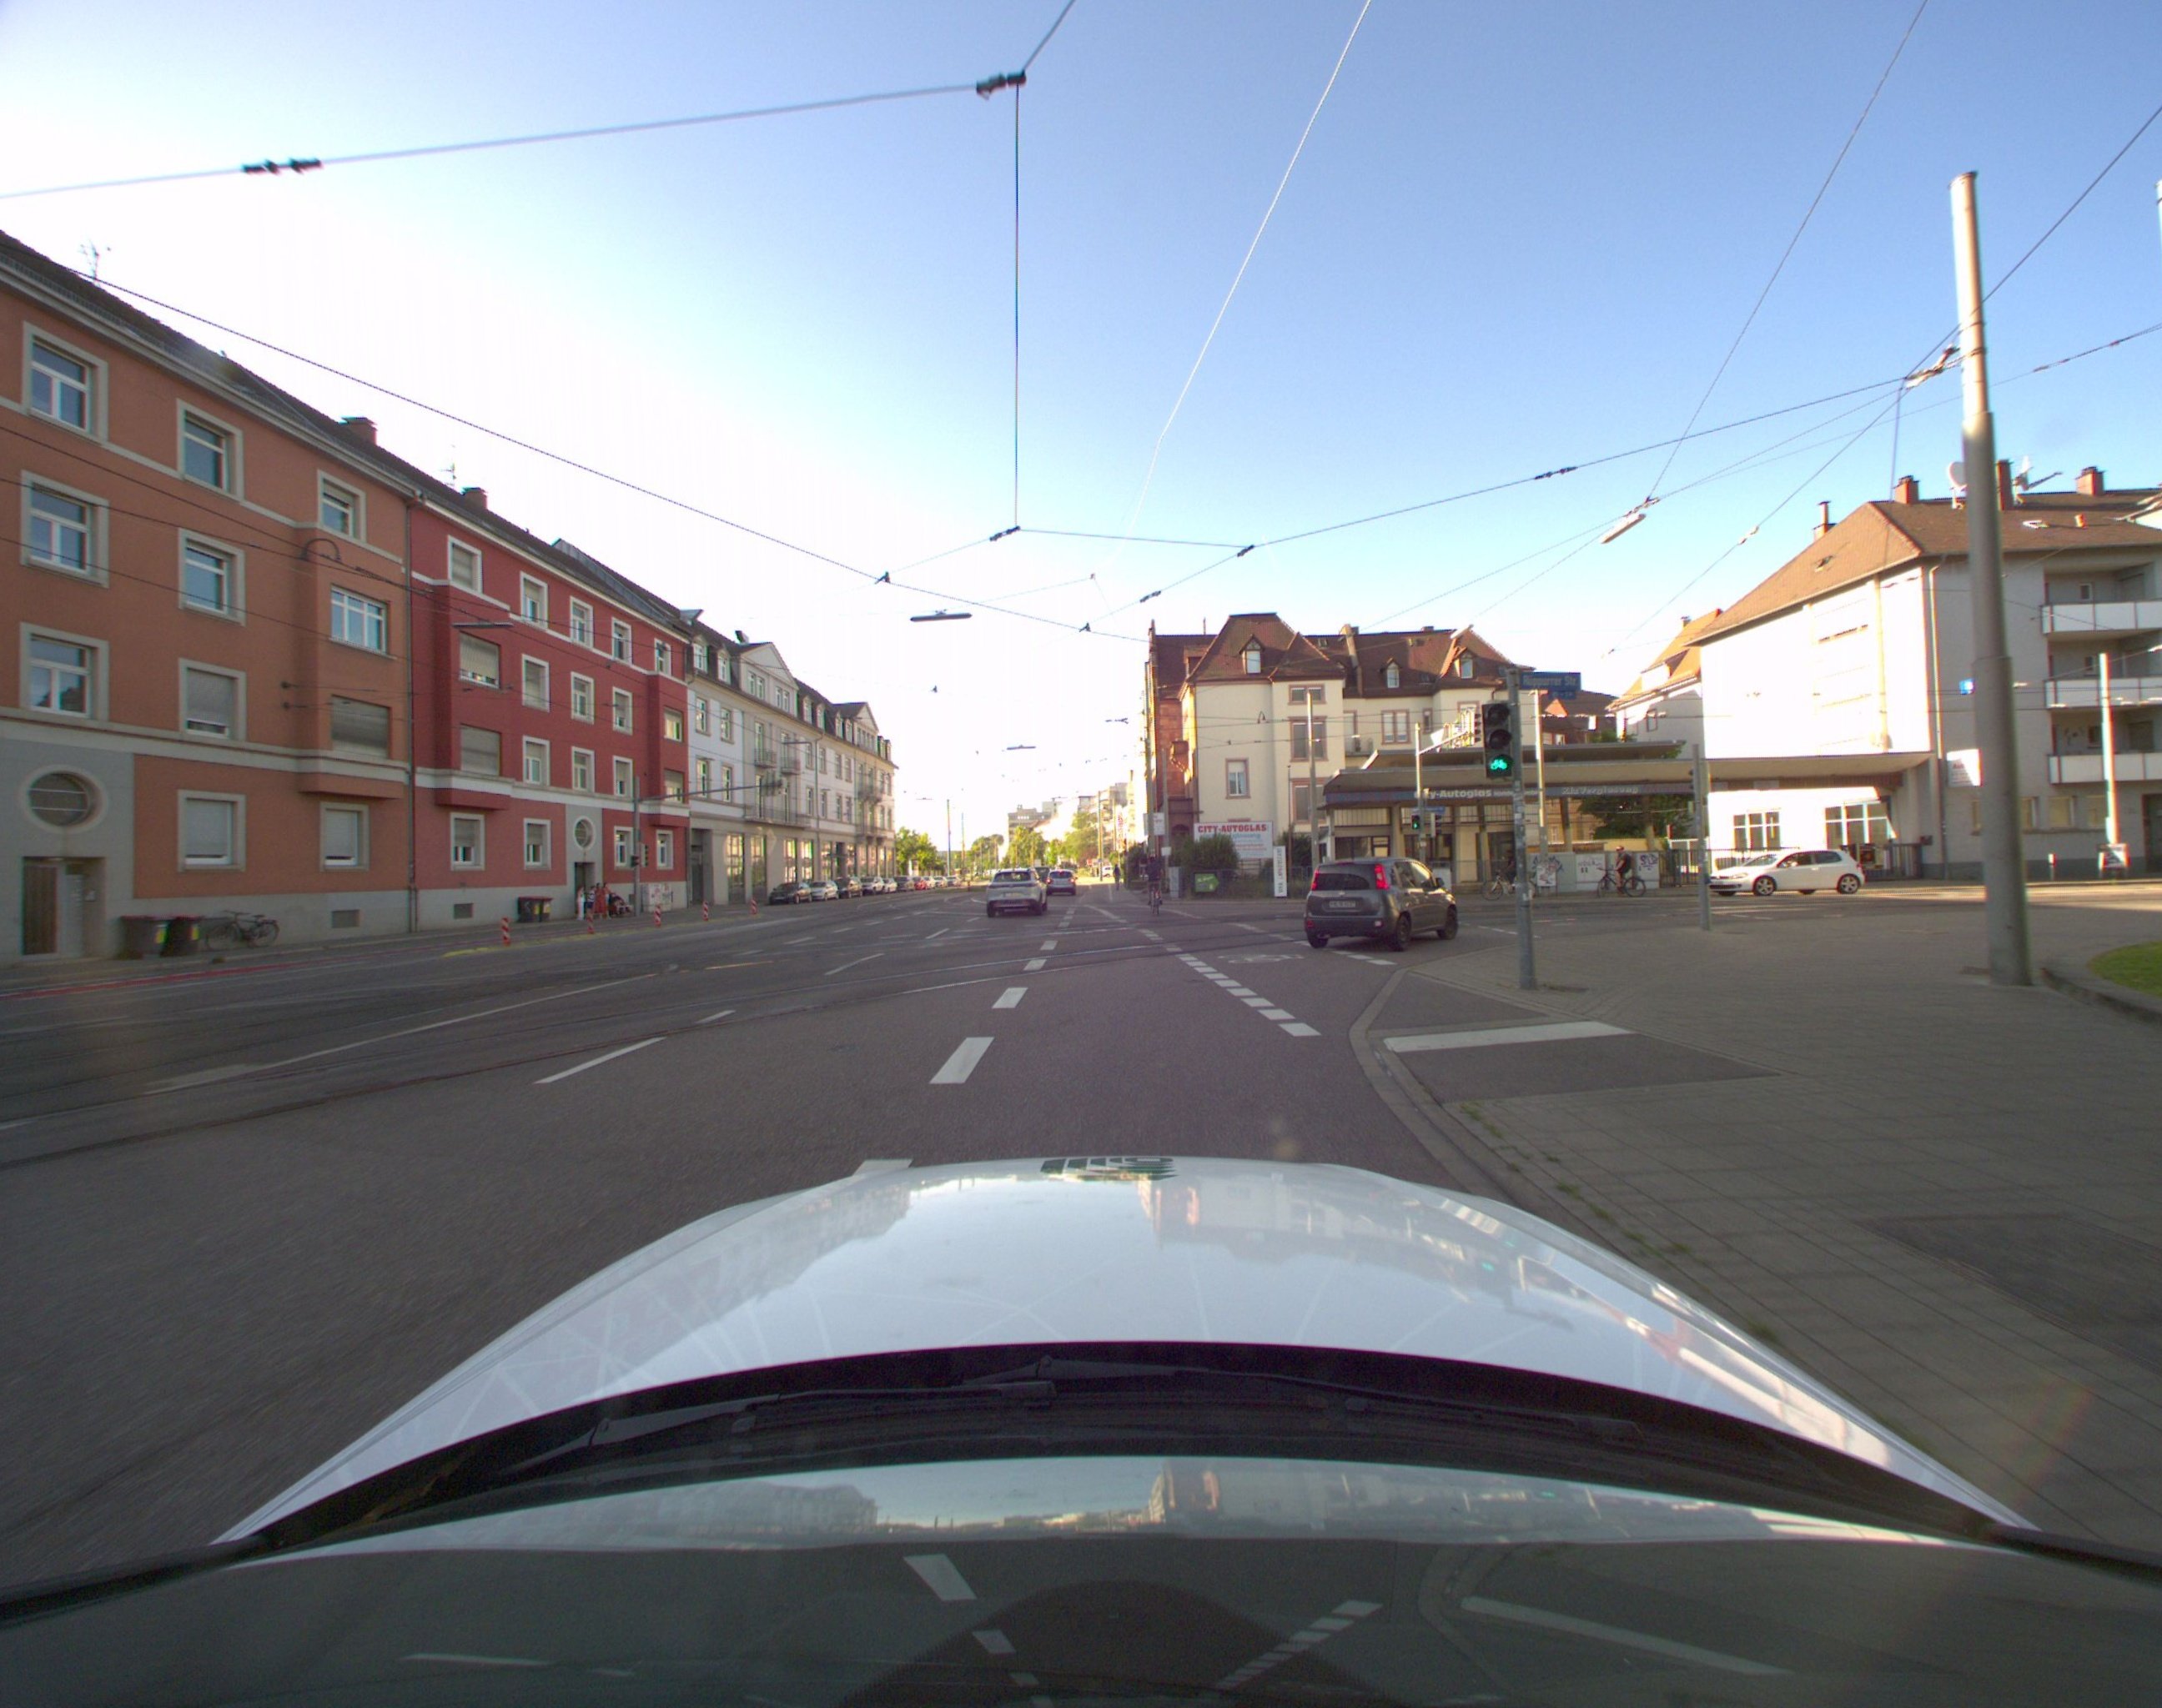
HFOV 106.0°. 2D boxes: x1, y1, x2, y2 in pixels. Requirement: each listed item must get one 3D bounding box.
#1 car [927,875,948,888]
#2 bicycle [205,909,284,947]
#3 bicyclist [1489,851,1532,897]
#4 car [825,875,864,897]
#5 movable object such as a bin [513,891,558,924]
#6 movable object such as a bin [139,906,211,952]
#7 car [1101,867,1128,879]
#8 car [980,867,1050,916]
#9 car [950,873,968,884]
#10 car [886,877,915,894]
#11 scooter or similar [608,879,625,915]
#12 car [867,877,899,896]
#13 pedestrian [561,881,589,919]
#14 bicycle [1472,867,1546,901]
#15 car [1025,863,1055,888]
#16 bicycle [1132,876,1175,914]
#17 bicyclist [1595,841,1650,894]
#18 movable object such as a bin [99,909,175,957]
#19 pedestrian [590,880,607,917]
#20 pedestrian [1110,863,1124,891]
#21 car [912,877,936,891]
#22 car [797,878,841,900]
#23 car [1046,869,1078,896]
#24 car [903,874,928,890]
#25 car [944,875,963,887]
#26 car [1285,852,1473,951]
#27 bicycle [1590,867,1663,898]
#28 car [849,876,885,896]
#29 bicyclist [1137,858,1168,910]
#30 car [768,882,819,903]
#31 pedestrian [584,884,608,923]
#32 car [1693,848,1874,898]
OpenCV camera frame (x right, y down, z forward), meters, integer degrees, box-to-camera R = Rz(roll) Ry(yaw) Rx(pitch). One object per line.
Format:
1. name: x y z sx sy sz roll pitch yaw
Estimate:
1. car: -17.423 3.326 98.984 1.712 1.552 4.002 -2 -1 2
2. bicycle: -22.630 1.987 22.067 0.333 0.890 1.607 -2 -1 6
3. bicyclist: 14.762 0.693 28.004 1.041 1.526 0.882 -2 -2 10
4. car: -18.272 2.442 63.035 1.712 1.552 3.857 -2 -1 2
5. movable object such as a bin: -22.059 2.158 32.965 0.865 1.249 1.236 -2 -2 8
6. movable object such as a bin: -22.419 1.842 20.172 0.841 1.040 0.810 -2 -2 -3
7. car: 5.646 3.198 137.887 4.255 2.014 1.995 -1 -2 -8
8. car: -2.169 1.213 27.682 1.941 1.528 4.090 -1 -1 1
9. car: -17.353 3.488 115.864 1.712 1.552 4.001 -2 -1 2
10. car: -17.699 3.071 80.010 1.712 1.552 4.001 -2 -1 2
11. scooter or similar: -21.294 1.951 37.295 0.657 1.633 0.787 -1 -2 -30
12. car: -18.183 2.970 74.943 1.712 1.552 4.001 -2 -1 2
13. pedestrian: -21.787 1.975 35.084 0.787 1.633 0.657 -2 -2 16
14. bicycle: 14.717 1.025 28.059 2.045 1.125 0.898 -2 -1 10
15. car: -3.469 1.840 69.937 2.164 2.009 4.809 -2 -1 2
16. bicycle: 2.176 1.236 24.748 0.771 1.086 1.863 -1 -1 -12
17. bicyclist: 18.989 0.484 28.564 1.246 1.787 0.910 -2 -2 -3
18. movable object such as a bin: -22.387 1.862 19.326 0.841 1.040 0.810 -2 -2 -3
19. pedestrian: -21.842 1.993 36.878 0.657 1.633 0.787 -1 -2 -30
20. pedestrian: 2.480 1.569 55.578 0.872 1.824 1.185 -1 -2 3
21. car: -17.443 3.323 90.710 1.712 1.552 4.001 -2 -1 2
22. car: -18.645 2.477 58.087 1.712 1.452 4.001 -2 -1 2
23. car: -1.169 1.790 52.162 1.807 1.582 4.001 -2 -1 1
24. car: -17.432 2.922 85.972 1.712 1.552 4.001 -2 -1 2
25. car: -17.154 3.628 109.838 1.712 1.552 4.001 -2 -1 2
26. car: 5.380 0.741 14.421 1.714 1.500 4.024 -2 -1 42
27. bicycle: 19.089 0.988 28.536 2.033 1.017 0.728 -2 -2 2
28. car: -18.297 2.686 69.809 1.828 1.552 4.275 -2 -1 2
29. bicyclist: 2.213 0.917 24.984 0.829 1.525 0.996 -2 -2 10
30. car: -18.476 2.451 52.495 1.712 1.232 4.001 -2 -1 2
31. pedestrian: -21.348 2.163 35.861 0.835 1.633 0.786 0 -2 -36
32. car: 22.572 0.629 26.284 4.159 1.458 1.797 -2 -3 3
